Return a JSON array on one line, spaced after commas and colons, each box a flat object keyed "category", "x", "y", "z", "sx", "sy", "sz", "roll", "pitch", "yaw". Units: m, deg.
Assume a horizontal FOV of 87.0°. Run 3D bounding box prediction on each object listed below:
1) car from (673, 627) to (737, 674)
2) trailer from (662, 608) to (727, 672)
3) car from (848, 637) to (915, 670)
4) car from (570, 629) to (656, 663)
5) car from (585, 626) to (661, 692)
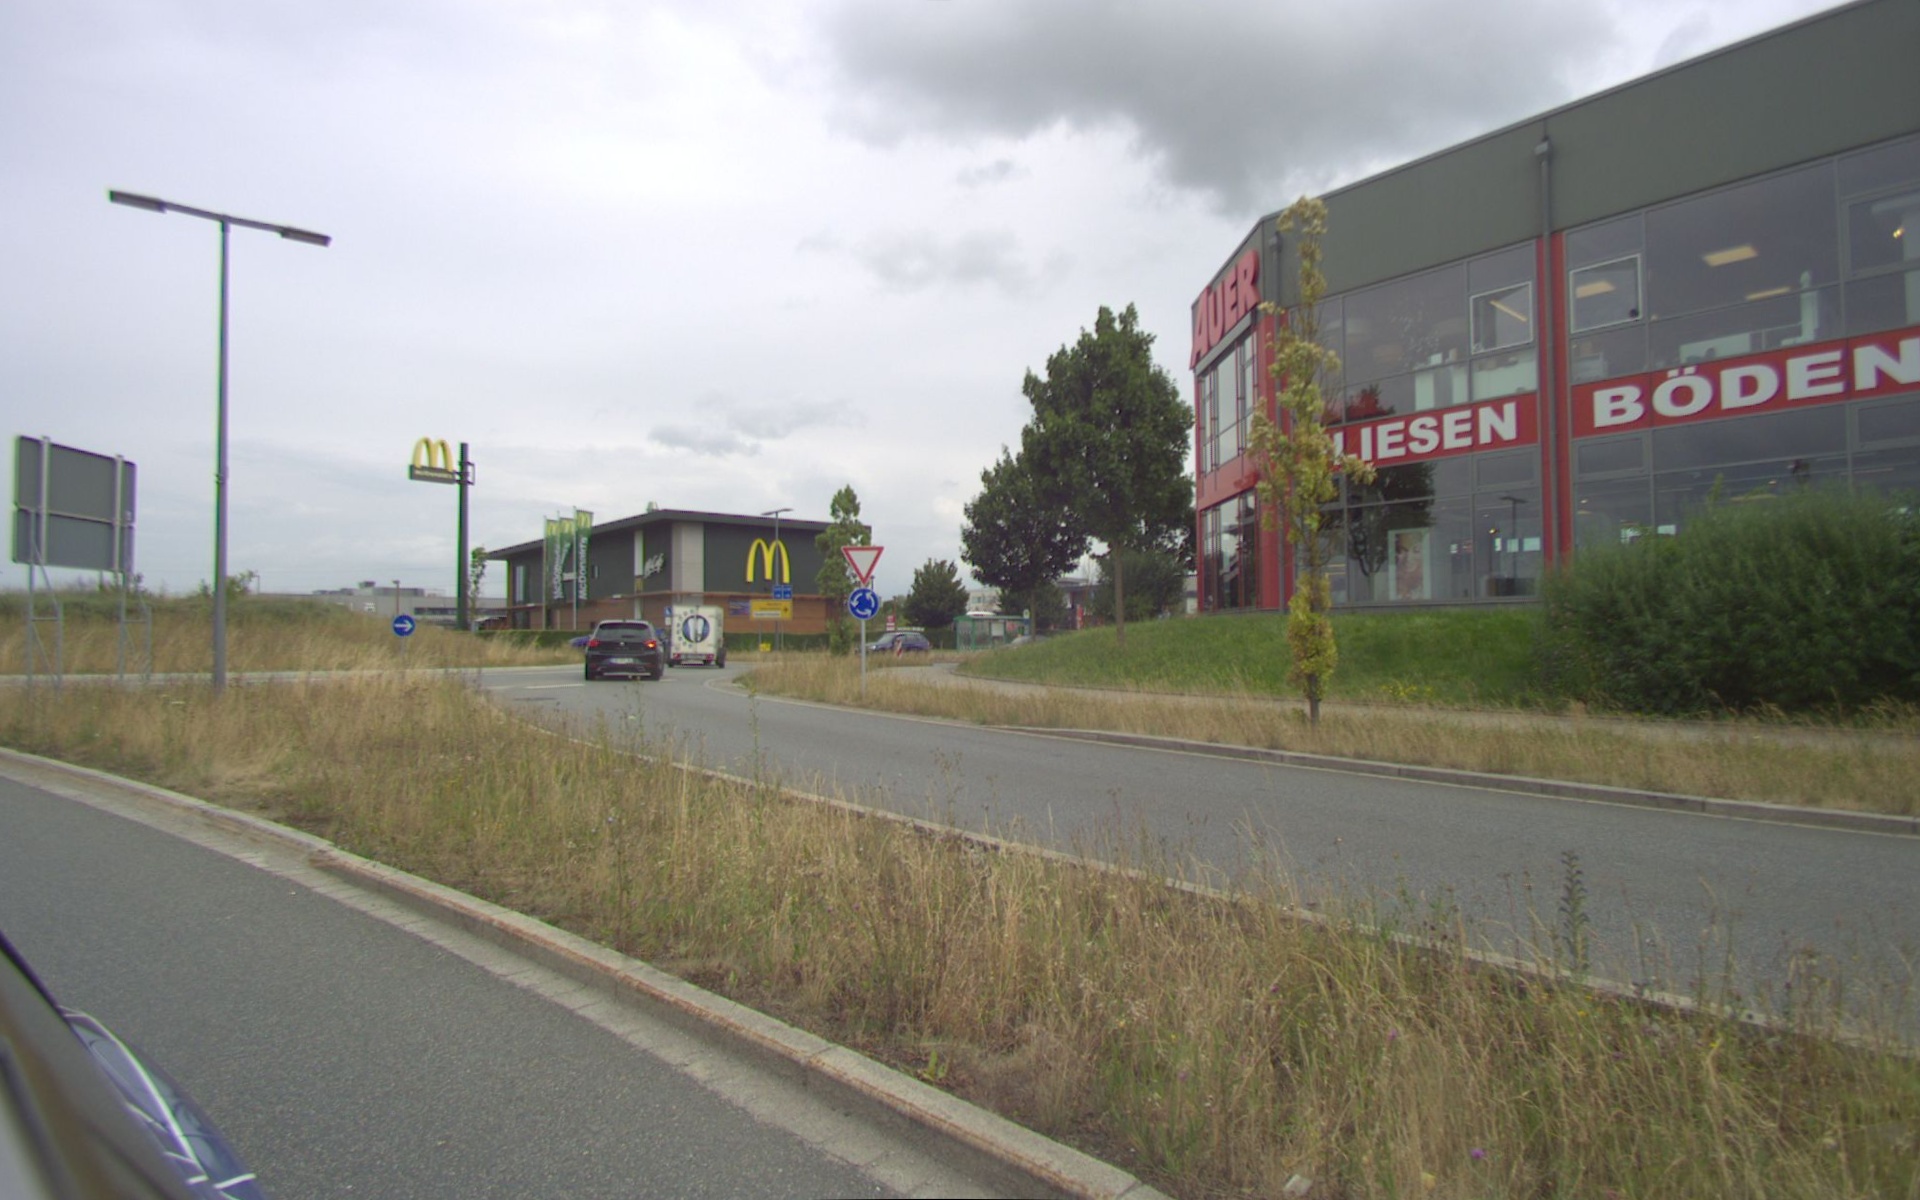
[{"category": "car", "x": -9.812, "y": 1.952, "z": 39.192, "sx": 1.789, "sy": 1.683, "sz": 4.621, "roll": 0, "pitch": -3, "yaw": -6}, {"category": "trailer", "x": -9.133, "y": 1.404, "z": 35.114, "sx": 1.783, "sy": 2.107, "sz": 4.153, "roll": 1, "pitch": -3, "yaw": -9}, {"category": "car", "x": -4.322, "y": 2.943, "z": 56.478, "sx": 1.888, "sy": 1.671, "sz": 3.980, "roll": -1, "pitch": -1, "yaw": 28}, {"category": "car", "x": -16.945, "y": 2.243, "z": 49.546, "sx": 3.753, "sy": 1.562, "sz": 1.766, "roll": -1, "pitch": -2, "yaw": -10}, {"category": "car", "x": -8.284, "y": 1.387, "z": 24.820, "sx": 1.617, "sy": 1.470, "sz": 3.779, "roll": 1, "pitch": -2, "yaw": -19}]
